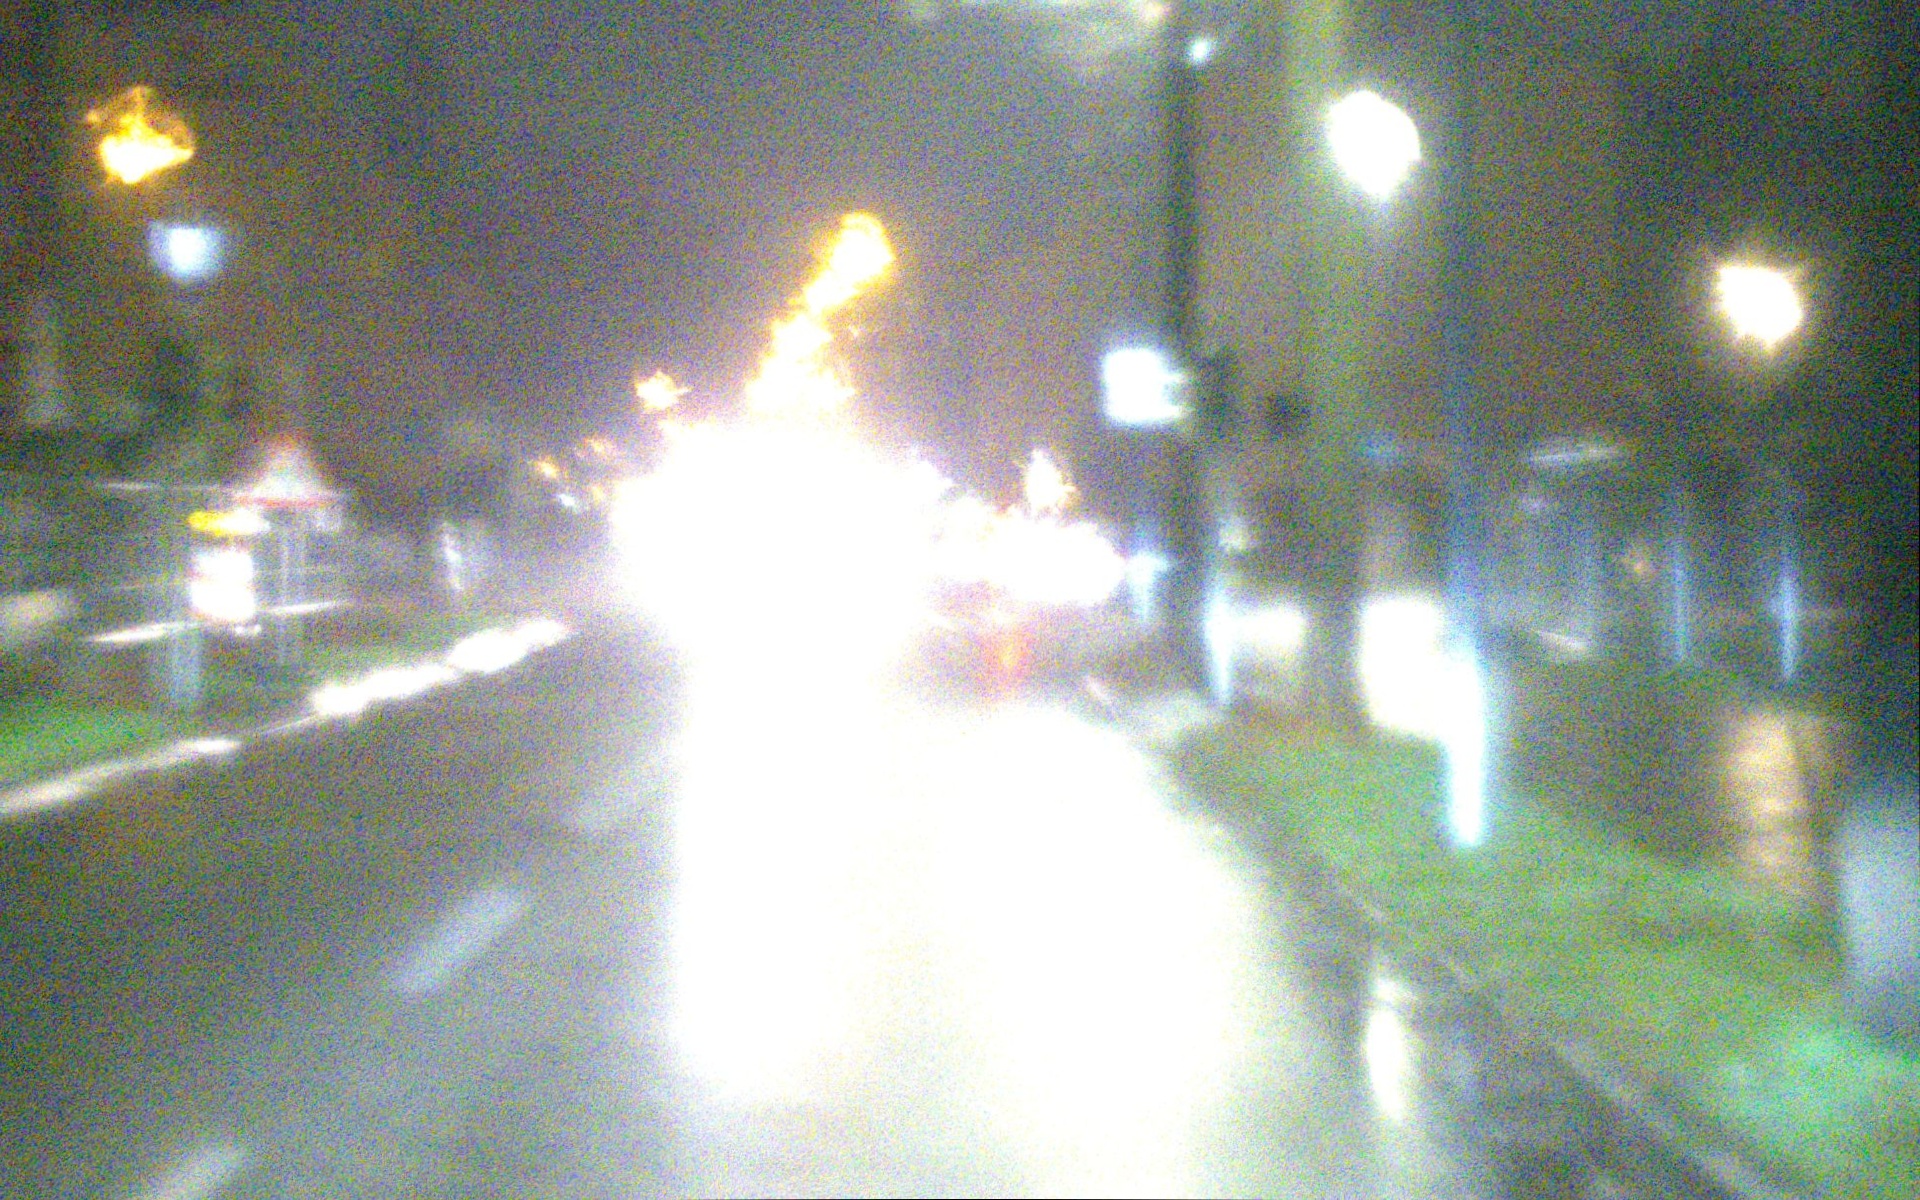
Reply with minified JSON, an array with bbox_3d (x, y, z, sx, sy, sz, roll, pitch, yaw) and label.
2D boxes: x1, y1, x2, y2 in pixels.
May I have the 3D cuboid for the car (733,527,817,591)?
[{"bbox_3d":[-4.390,-1.005,81.974,1.745,1.428,4.000,-2,1,0],"label":"car"}]

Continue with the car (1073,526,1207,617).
[{"bbox_3d":[3.202,-0.550,62.093,1.789,1.444,4.792,-3,2,-4],"label":"car"}]

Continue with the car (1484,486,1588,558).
[{"bbox_3d":[12.236,-1.672,73.183,1.562,1.464,3.408,-1,2,-1],"label":"car"}]

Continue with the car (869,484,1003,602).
[{"bbox_3d":[-0.354,-0.919,53.410,1.993,1.678,4.001,0,3,0],"label":"car"}]

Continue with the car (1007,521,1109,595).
[{"bbox_3d":[2.043,-0.916,73.016,1.713,1.483,4.437,-2,1,-4],"label":"car"}]

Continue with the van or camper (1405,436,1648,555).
[{"bbox_3d":[12.658,-2.350,77.078,5.062,2.518,2.172,-1,2,0],"label":"van or camper"}]

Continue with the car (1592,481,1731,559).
[{"bbox_3d":[14.800,-1.722,72.768,1.829,1.542,4.867,-1,2,-1],"label":"car"}]
